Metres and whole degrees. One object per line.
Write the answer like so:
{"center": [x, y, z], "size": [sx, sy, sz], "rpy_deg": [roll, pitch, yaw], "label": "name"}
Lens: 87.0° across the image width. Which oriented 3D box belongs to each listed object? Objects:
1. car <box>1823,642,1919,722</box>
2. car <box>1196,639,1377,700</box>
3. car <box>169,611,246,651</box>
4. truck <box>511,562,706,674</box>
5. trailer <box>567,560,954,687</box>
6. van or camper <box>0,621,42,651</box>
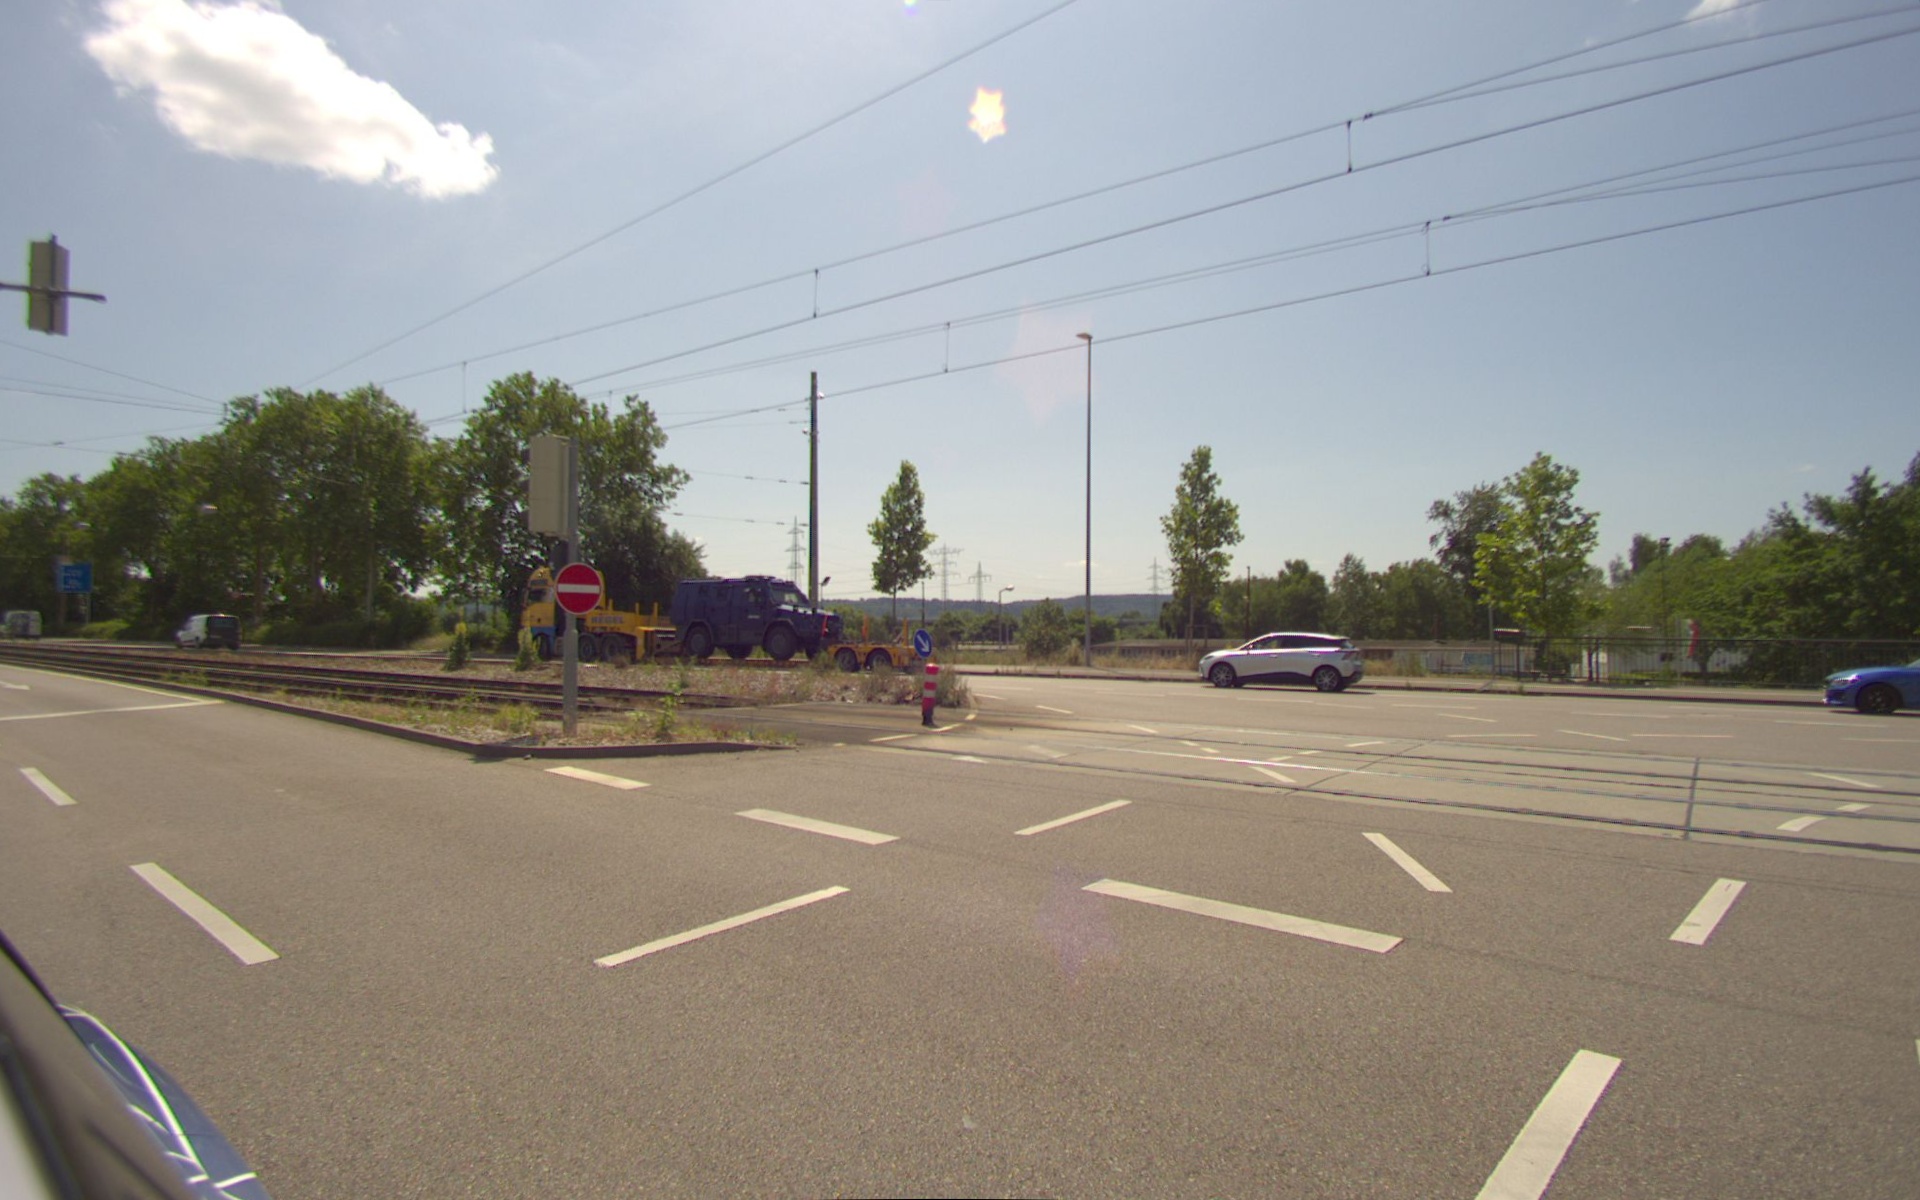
{"center": [19.733, 1.588, 19.660], "size": [4.342, 1.456, 1.975], "rpy_deg": [-1, -1, 37], "label": "car"}
{"center": [8.673, 1.802, 26.925], "size": [4.261, 1.474, 1.980], "rpy_deg": [-1, -2, 30], "label": "car"}
{"center": [-39.207, 1.649, 52.690], "size": [4.424, 1.852, 1.975], "rpy_deg": [-5, -5, 36], "label": "car"}
{"center": [-13.884, 0.736, 39.884], "size": [7.442, 4.070, 3.105], "rpy_deg": [-1, -2, 29], "label": "truck"}
{"center": [-7.638, 0.907, 36.217], "size": [15.421, 3.900, 3.093], "rpy_deg": [-1, -2, 30], "label": "trailer"}
{"center": [-83.790, 3.190, 89.799], "size": [5.828, 2.606, 1.977], "rpy_deg": [-1, -3, 34], "label": "van or camper"}
